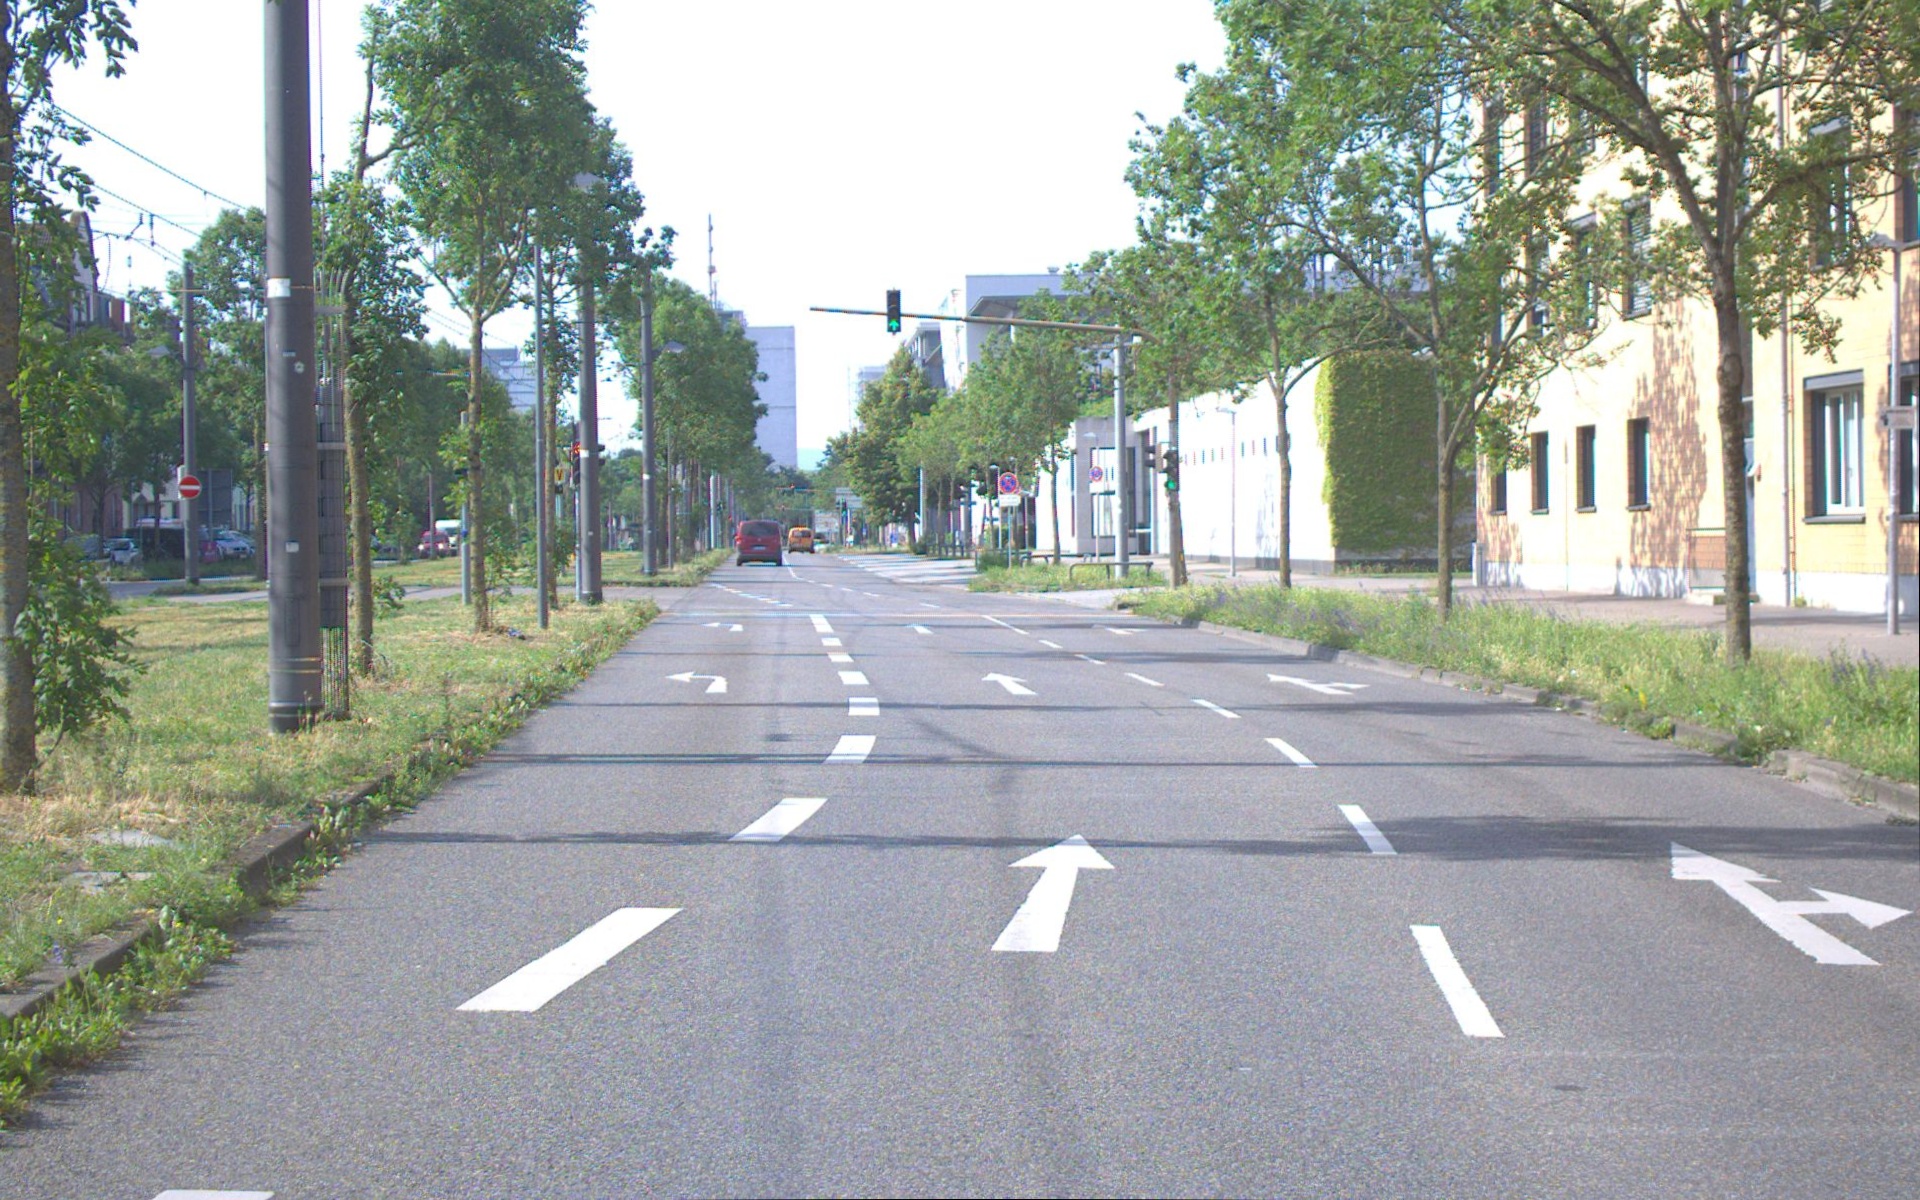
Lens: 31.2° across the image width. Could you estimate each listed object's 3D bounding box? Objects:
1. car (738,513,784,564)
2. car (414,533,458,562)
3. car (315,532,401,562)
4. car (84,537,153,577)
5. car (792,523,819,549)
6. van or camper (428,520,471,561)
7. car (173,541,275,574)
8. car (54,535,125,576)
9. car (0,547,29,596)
[{"bbox_3d":[-8.156,-2.497,140.981,1.748,2.007,3.216,2,0,-2],"label":"car"},{"bbox_3d":[-32.522,-3.249,213.422,1.965,1.688,4.297,2,0,1],"label":"car"},{"bbox_3d":[-38.318,-3.371,218.667,5.319,1.732,1.996,2,1,31],"label":"car"},{"bbox_3d":[-35.972,-1.863,147.040,1.890,1.623,4.156,2,1,0],"label":"car"},{"bbox_3d":[-10.160,-4.206,226.066,1.748,1.645,3.216,2,0,-2],"label":"car"},{"bbox_3d":[-32.694,-3.800,220.364,2.203,2.522,6.031,2,0,-4],"label":"van or camper"},{"bbox_3d":[-33.728,-1.954,157.493,4.471,1.414,1.971,2,1,34],"label":"car"},{"bbox_3d":[-35.651,-1.840,140.889,1.993,1.623,4.776,2,1,-5],"label":"car"},{"bbox_3d":[-29.167,-0.875,102.751,1.812,1.428,3.926,2,0,-4],"label":"car"}]
